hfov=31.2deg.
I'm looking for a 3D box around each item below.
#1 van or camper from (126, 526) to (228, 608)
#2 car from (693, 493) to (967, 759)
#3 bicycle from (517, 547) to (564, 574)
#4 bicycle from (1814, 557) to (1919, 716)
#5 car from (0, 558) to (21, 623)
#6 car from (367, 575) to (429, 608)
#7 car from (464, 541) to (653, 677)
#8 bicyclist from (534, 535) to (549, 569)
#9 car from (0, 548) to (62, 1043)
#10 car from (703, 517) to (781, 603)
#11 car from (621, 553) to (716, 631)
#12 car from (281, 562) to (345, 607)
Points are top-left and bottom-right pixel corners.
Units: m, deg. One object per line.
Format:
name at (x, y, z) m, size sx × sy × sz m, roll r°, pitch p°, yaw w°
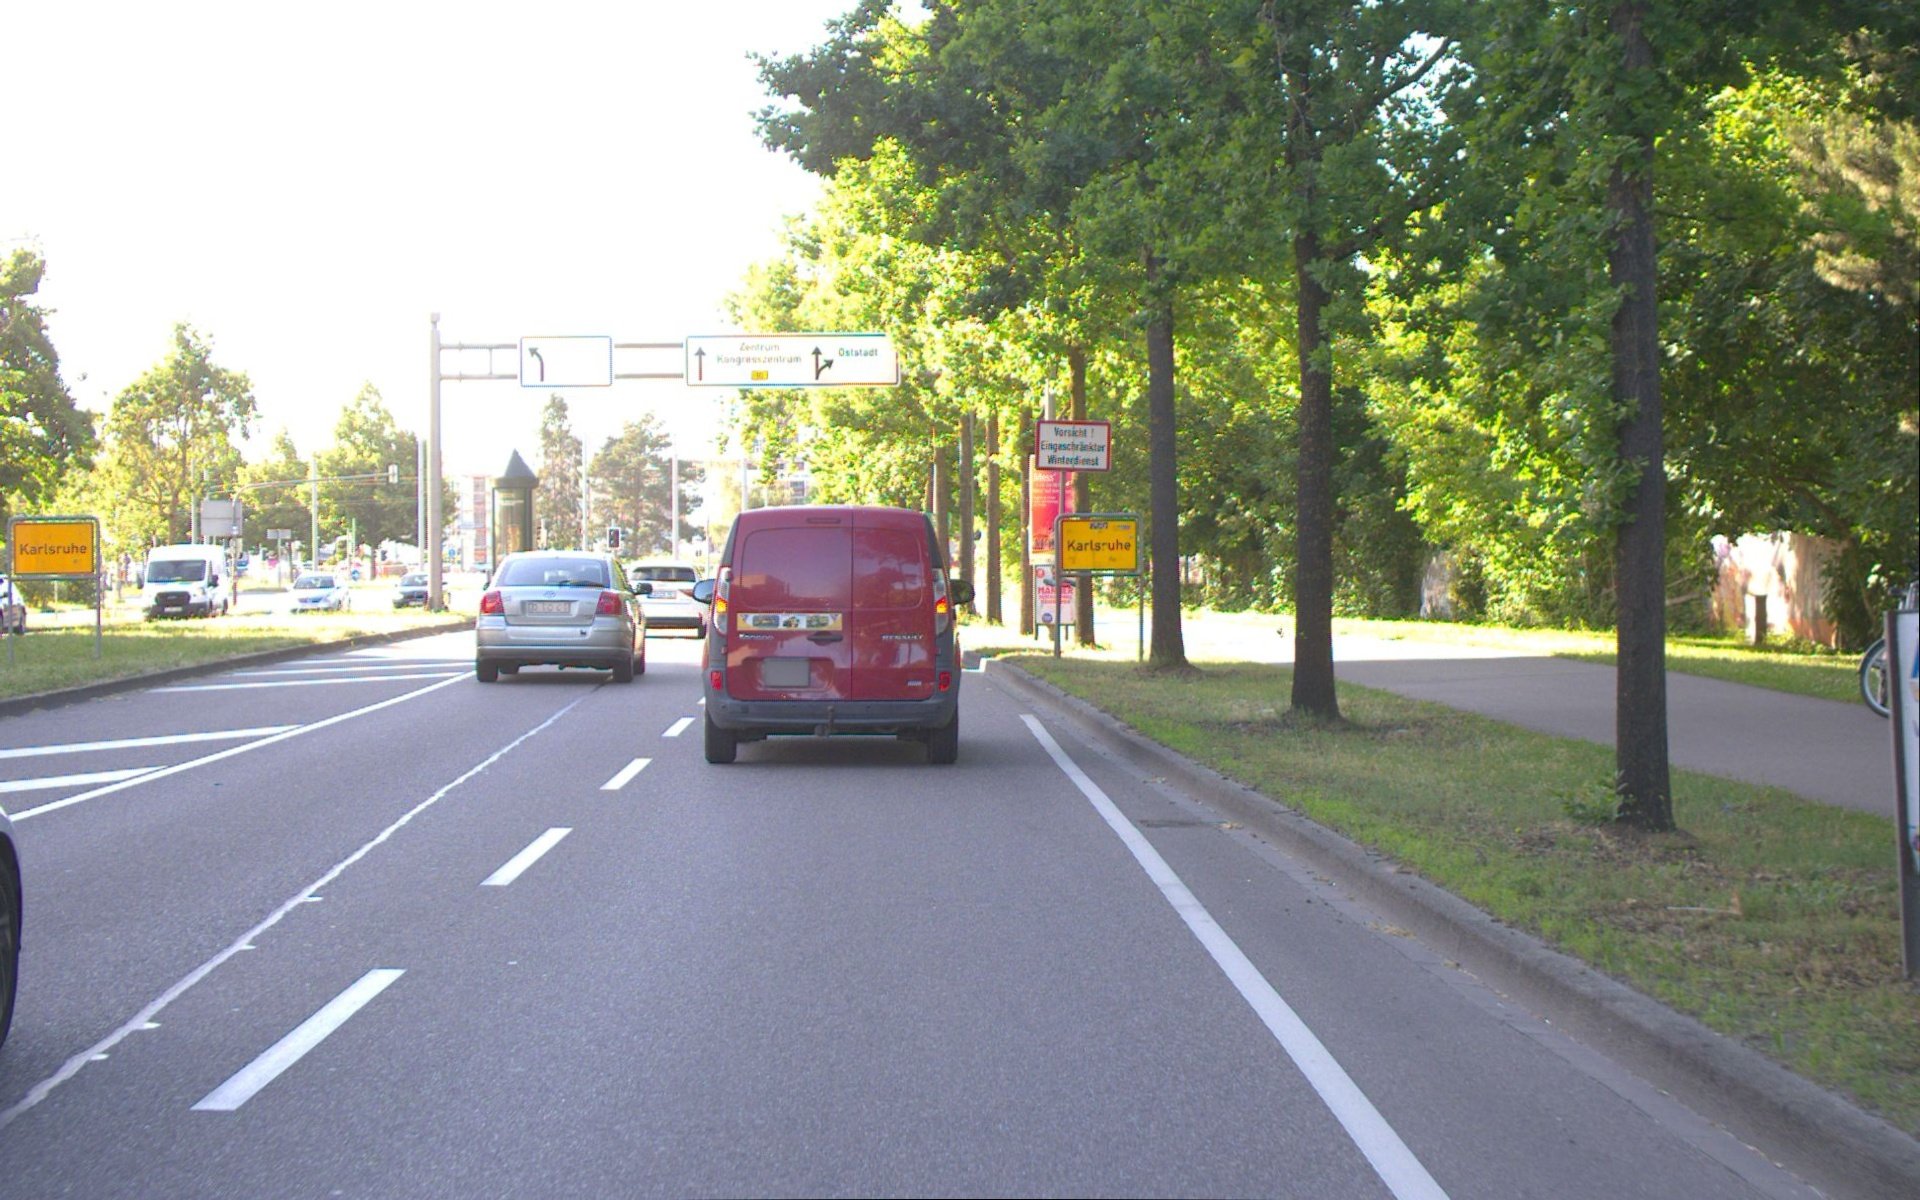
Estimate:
van or camper at (-23.734, -1.020, 104.379) m, size 1.993 × 2.360 × 5.994 m, roll -2°, pitch 1°, yaw -3°
car at (-0.975, 0.139, 24.927) m, size 1.806 × 1.753 × 4.006 m, roll 1°, pitch 1°, yaw -3°
bicycle at (-18.027, -1.692, 147.808) m, size 1.958 × 1.162 × 0.517 m, roll -1°, pitch 1°, yaw -4°
bicycle at (6.857, 0.250, 25.465) m, size 0.774 × 1.127 × 1.708 m, roll 0°, pitch 1°, yaw 5°
car at (-23.226, -0.207, 80.626) m, size 1.550 × 1.503 × 4.027 m, roll 0°, pitch 1°, yaw -4°
car at (-19.938, -0.299, 122.029) m, size 1.827 × 1.107 × 4.175 m, roll -1°, pitch 1°, yaw -5°
car at (-4.534, 0.061, 39.329) m, size 1.841 × 1.451 × 4.163 m, roll 1°, pitch 1°, yaw -3°
bicyclist at (-17.989, -2.060, 147.806) m, size 0.603 × 1.463 × 0.517 m, roll -1°, pitch 1°, yaw -4°
car at (-3.583, 0.581, 8.455) m, size 1.778 × 1.404 × 4.075 m, roll 0°, pitch 1°, yaw -1°
car at (-4.767, -0.887, 75.345) m, size 1.661 × 1.850 × 3.559 m, roll 0°, pitch 1°, yaw -3°
car at (-5.404, -0.174, 63.994) m, size 1.661 × 1.393 × 3.559 m, roll 0°, pitch 1°, yaw -3°
car at (-21.797, -0.528, 115.846) m, size 1.688 × 1.471 × 4.050 m, roll -1°, pitch 1°, yaw -5°
